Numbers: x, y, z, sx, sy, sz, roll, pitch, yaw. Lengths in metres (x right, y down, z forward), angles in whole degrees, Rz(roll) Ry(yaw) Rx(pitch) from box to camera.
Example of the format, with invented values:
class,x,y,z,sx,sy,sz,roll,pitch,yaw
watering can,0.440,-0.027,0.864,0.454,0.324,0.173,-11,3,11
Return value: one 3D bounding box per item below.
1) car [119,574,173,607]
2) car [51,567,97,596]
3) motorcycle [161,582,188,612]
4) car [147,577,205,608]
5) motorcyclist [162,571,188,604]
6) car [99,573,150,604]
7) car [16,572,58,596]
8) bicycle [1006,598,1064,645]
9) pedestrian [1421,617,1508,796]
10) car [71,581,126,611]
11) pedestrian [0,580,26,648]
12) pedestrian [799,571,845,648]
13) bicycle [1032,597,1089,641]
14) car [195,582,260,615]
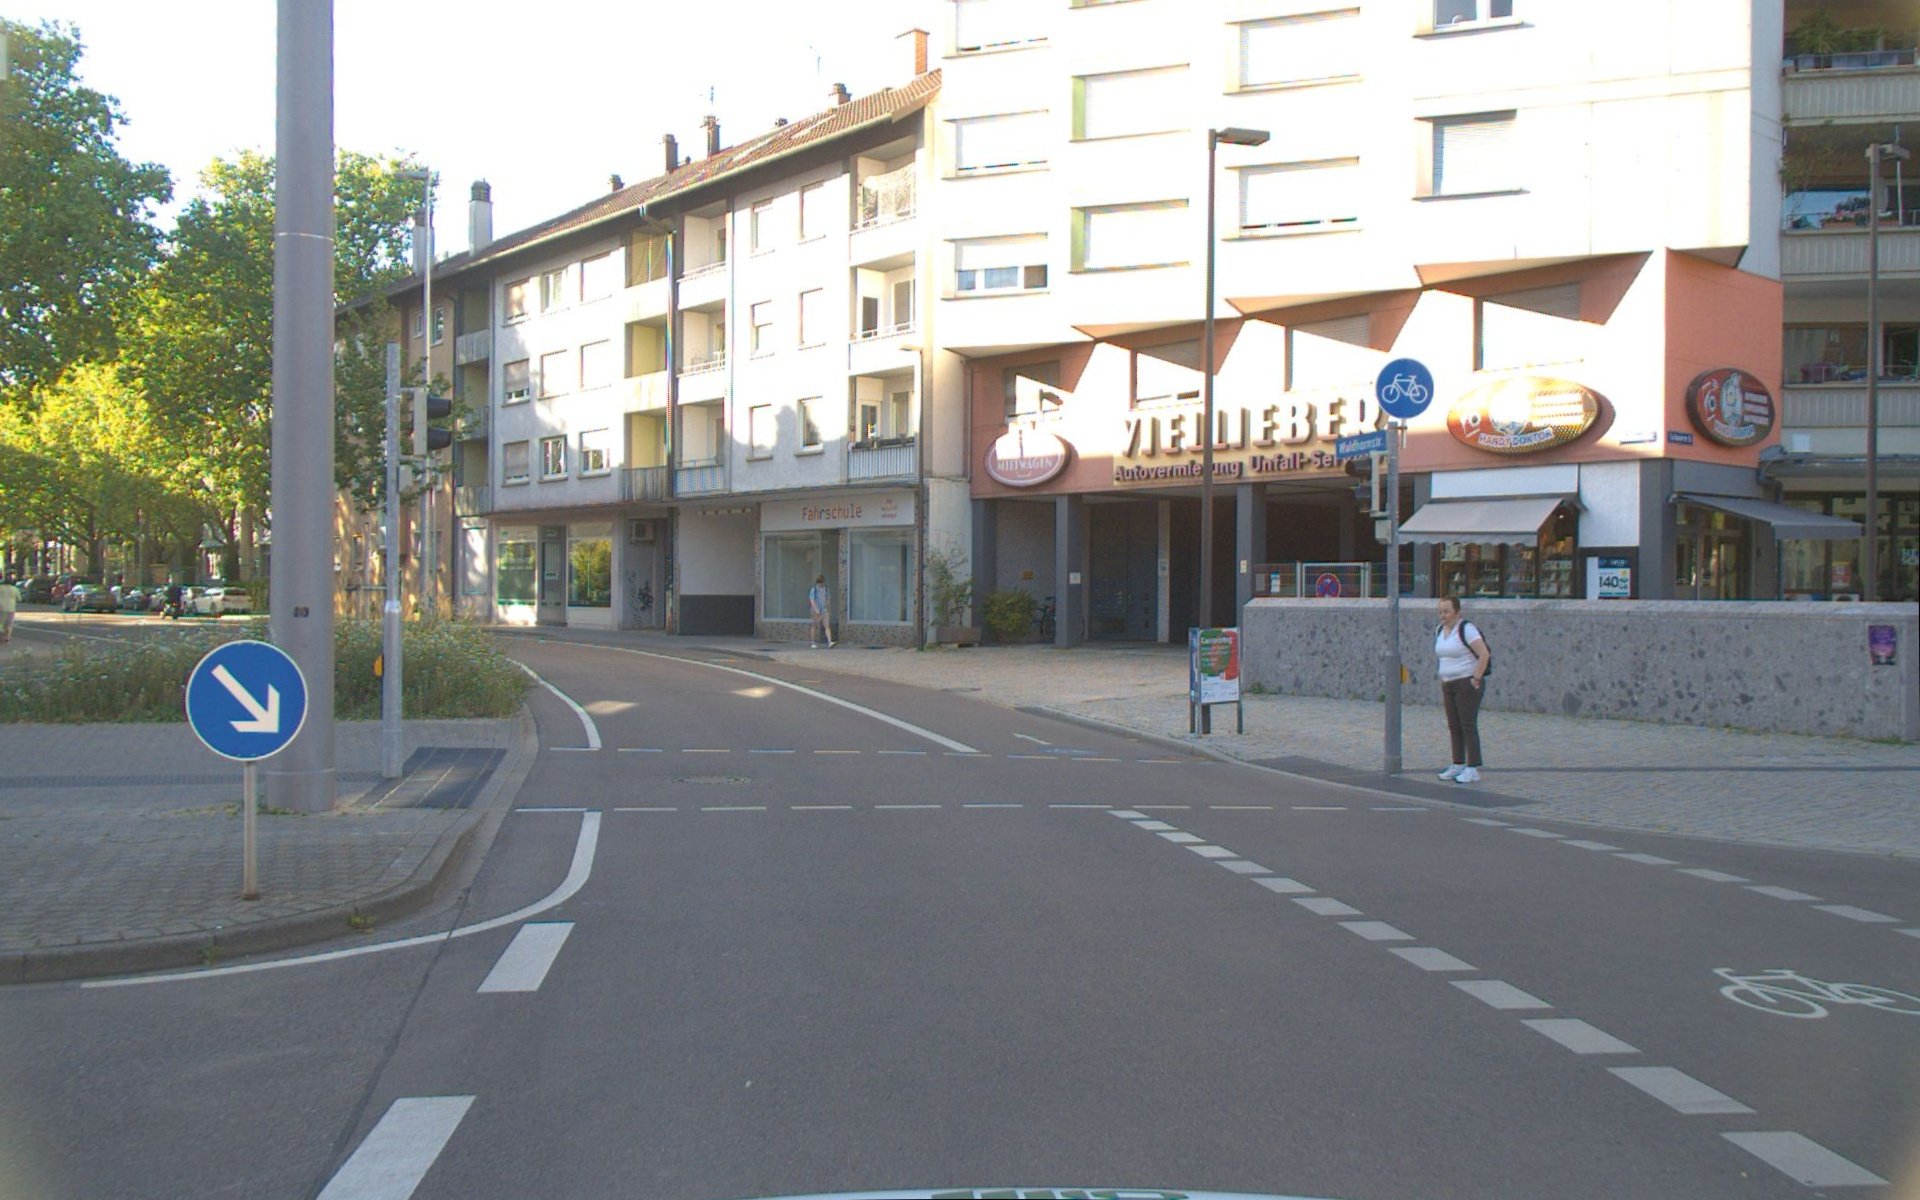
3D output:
class,x,y,z,sx,sy,sz,roll,pitch,yaw
car,-48.401,-0.567,98.327,2.020,1.789,4.035,-1,3,-40
car,-60.537,-1.294,113.033,2.020,1.968,4.035,-1,1,-40
motorcycle,-33.722,-0.131,71.012,0.962,1.151,2.781,1,2,-27
car,-44.555,-0.446,93.964,2.020,1.644,4.035,-1,3,-40
motorcyclist,-33.810,-0.530,71.215,0.959,1.370,1.128,1,2,-27
car,-52.096,-0.746,103.125,2.020,1.749,4.035,-1,3,-40
car,-67.822,-1.188,121.522,2.020,1.772,4.035,-1,1,-40
bicycle,1.855,0.523,41.242,0.491,1.056,1.615,-1,3,-39
pedestrian,4.735,0.983,15.528,0.535,1.611,0.550,0,2,-38
car,-45.157,-0.227,86.629,1.910,1.412,3.946,-1,3,-38
pedestrian,-25.031,0.360,43.332,0.801,1.754,0.764,0,2,-43
pedestrian,-3.475,0.228,41.655,0.727,1.886,0.934,-4,4,-40
bicycle,2.537,0.467,41.821,0.491,1.056,1.615,0,1,-39
car,-37.716,-0.082,85.113,2.020,1.530,4.035,-1,3,-40
